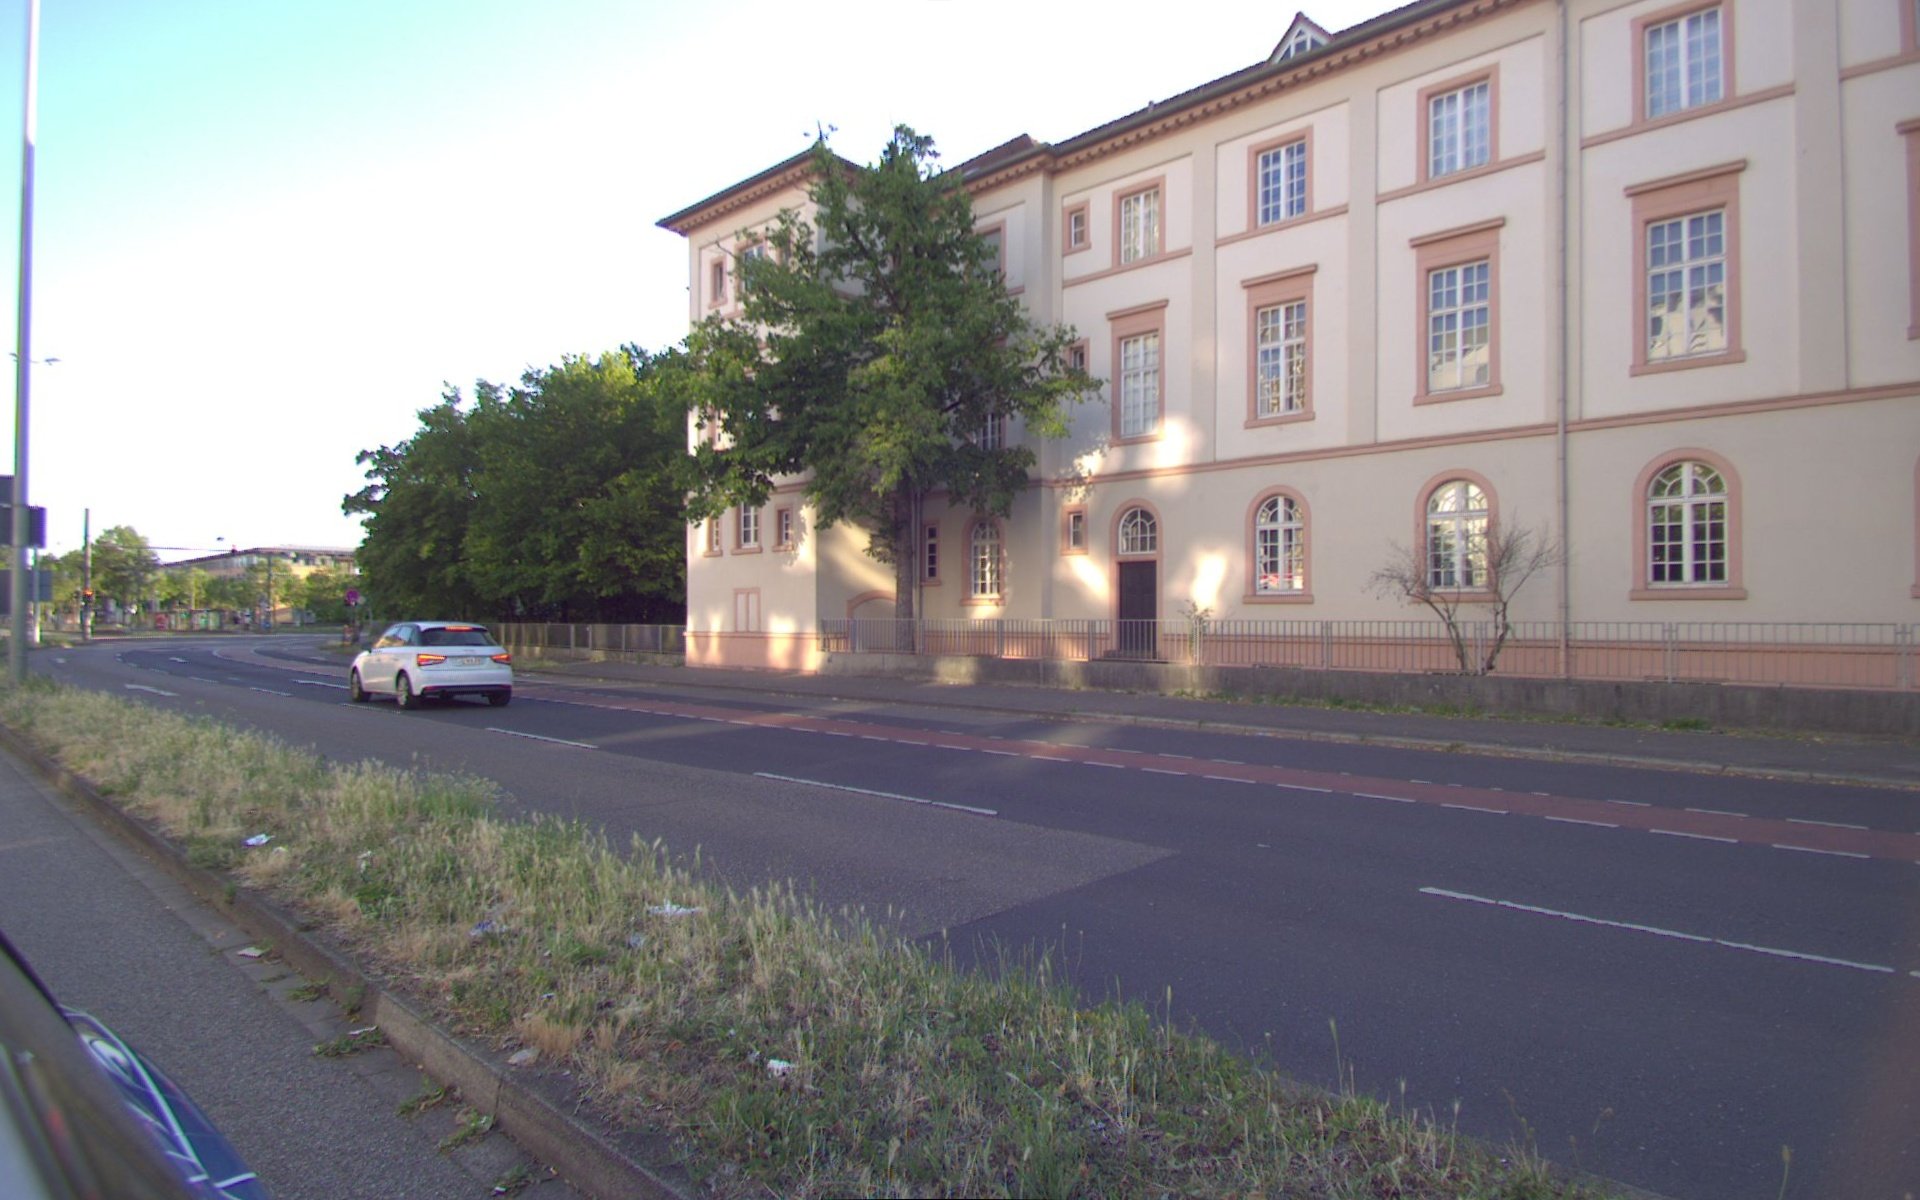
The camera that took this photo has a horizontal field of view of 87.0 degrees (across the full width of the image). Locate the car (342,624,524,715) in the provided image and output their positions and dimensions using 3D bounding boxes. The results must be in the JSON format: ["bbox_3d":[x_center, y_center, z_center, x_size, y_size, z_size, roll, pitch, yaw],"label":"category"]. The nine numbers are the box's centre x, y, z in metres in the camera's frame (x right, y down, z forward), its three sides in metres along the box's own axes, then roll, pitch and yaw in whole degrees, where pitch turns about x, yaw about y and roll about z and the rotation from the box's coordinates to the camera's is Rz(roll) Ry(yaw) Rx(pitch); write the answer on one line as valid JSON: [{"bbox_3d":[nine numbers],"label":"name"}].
[{"bbox_3d":[-9.175,1.127,17.499,3.687,1.398,1.672,-1,-3,44],"label":"car"}]

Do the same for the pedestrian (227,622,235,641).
[{"bbox_3d":[-78.382,3.410,108.833,0.664,2.029,0.549,-1,-2,41],"label":"pedestrian"}]

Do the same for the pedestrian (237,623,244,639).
[{"bbox_3d":[-77.597,3.350,109.139,0.419,1.718,0.461,-1,-2,41],"label":"pedestrian"}]
